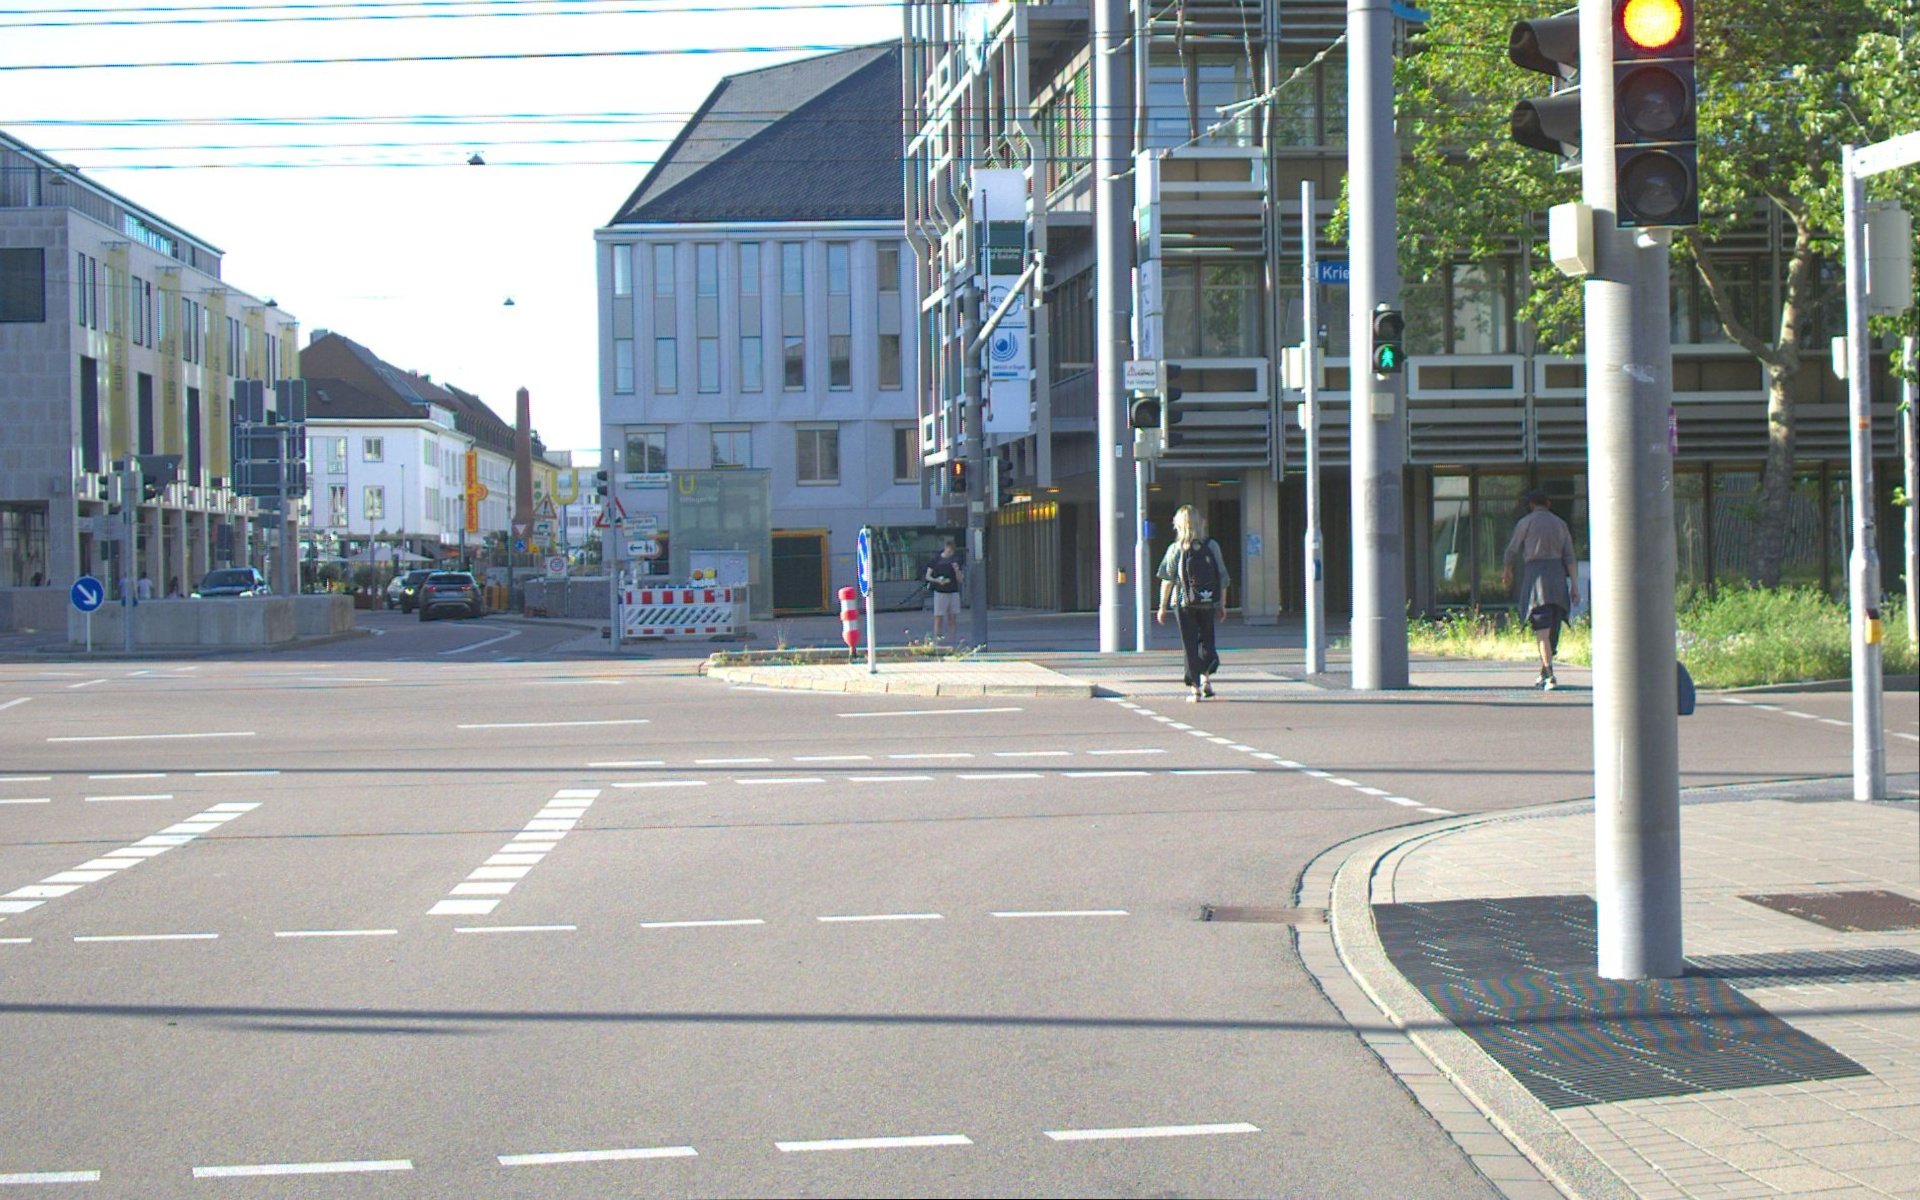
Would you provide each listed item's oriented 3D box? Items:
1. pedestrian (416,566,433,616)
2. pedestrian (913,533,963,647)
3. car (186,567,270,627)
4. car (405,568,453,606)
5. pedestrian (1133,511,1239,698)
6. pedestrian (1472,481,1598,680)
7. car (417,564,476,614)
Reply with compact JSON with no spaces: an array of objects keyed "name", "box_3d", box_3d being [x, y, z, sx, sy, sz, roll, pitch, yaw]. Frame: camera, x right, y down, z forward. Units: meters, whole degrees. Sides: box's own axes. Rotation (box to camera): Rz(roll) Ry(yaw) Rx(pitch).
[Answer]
[{"name":"pedestrian","box_3d":[-18.214,-0.303,116.948,0.521,1.674,0.583,1,1,-7]},{"name":"pedestrian","box_3d":[-0.369,-0.173,57.313,0.788,1.883,0.644,1,0,-1]},{"name":"car","box_3d":[-20.944,-0.091,98.487,1.797,1.652,4.001,1,1,-4]},{"name":"car","box_3d":[-23.820,-0.575,154.405,1.797,1.652,4.001,1,1,-4]},{"name":"pedestrian","box_3d":[1.830,0.030,27.865,0.788,1.487,0.644,1,0,-1]},{"name":"pedestrian","box_3d":[4.901,-0.167,29.349,0.878,1.659,0.965,1,0,-1]},{"name":"car","box_3d":[-16.140,-0.367,108.208,1.737,1.525,3.856,1,1,-7]}]
